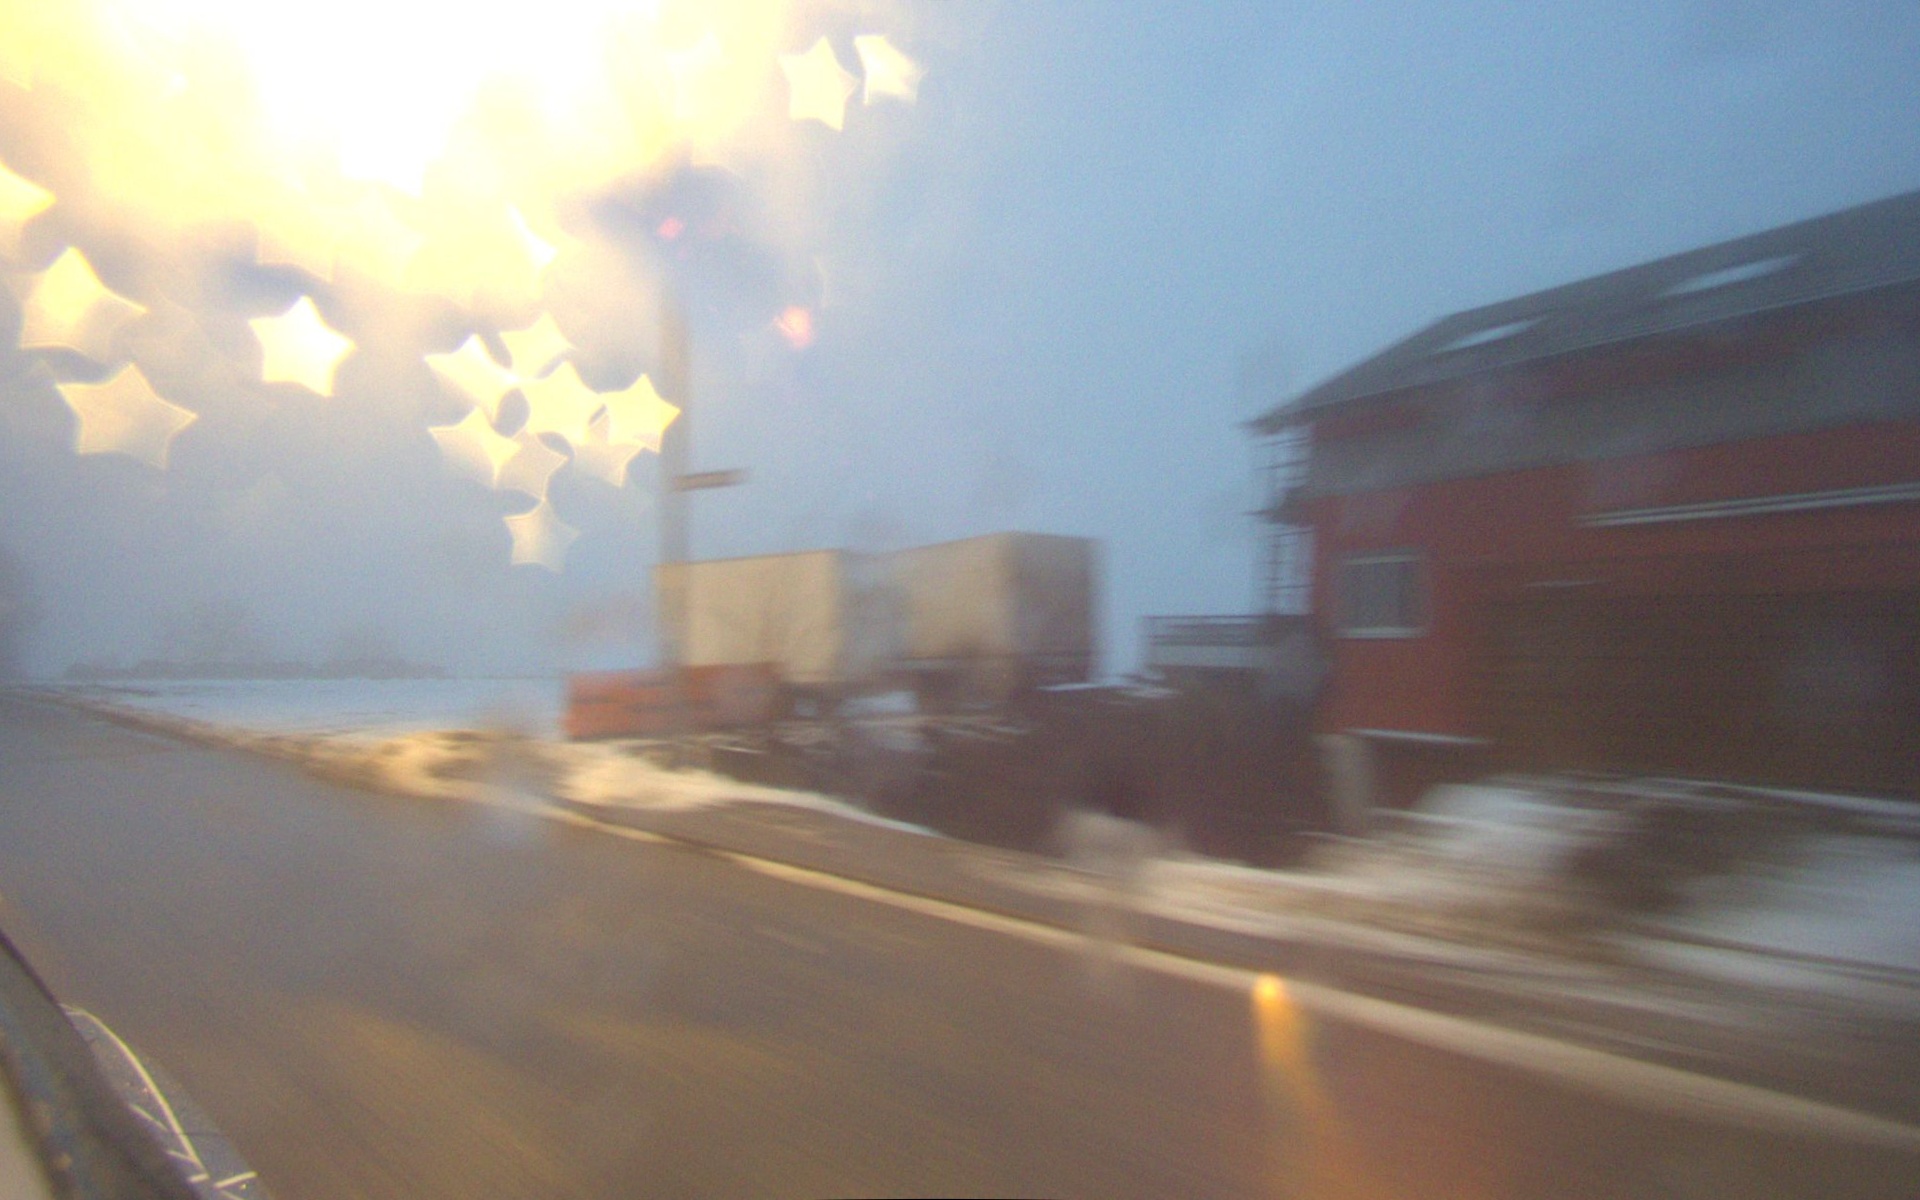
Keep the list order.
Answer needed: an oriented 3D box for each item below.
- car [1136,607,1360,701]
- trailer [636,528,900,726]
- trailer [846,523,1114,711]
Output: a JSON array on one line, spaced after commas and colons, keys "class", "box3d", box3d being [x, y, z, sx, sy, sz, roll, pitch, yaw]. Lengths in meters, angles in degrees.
[{"class": "car", "box3d": [5.794, 1.147, 20.746, 1.968, 1.730, 4.007, 4, -6, -38]}, {"class": "trailer", "box3d": [-2.784, 0.448, 14.850, 3.421, 2.625, 1.682, -1, -5, 22]}, {"class": "trailer", "box3d": [0.205, 0.383, 15.655, 1.969, 2.508, 4.016, 4, -6, -40]}]
